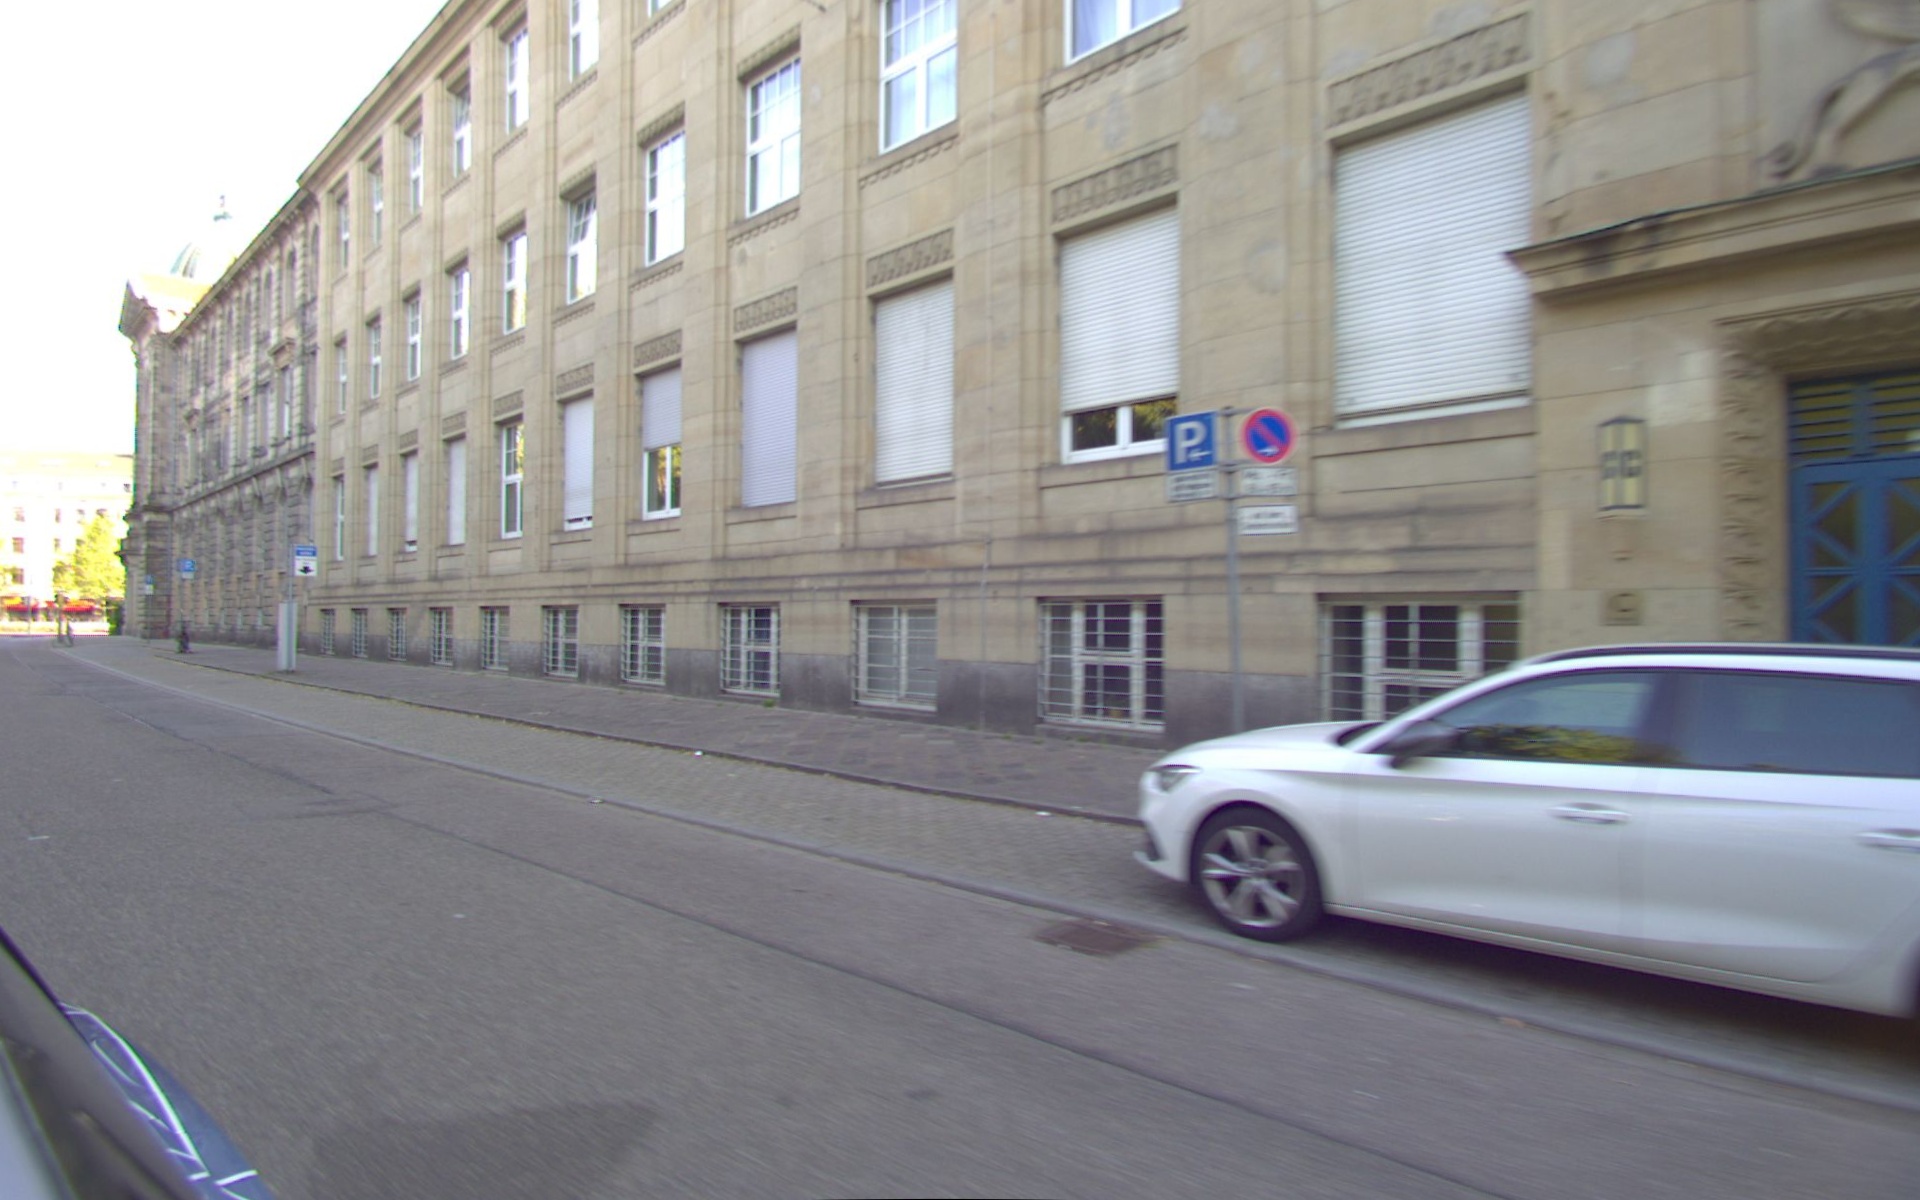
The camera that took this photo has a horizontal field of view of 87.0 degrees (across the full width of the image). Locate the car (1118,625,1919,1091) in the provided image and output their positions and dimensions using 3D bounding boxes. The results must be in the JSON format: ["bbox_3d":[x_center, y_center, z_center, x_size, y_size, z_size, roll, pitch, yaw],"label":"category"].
[{"bbox_3d":[3.084,0.848,4.327,4.559,1.446,1.725,-1,-1,41],"label":"car"}]

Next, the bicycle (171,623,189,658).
[{"bbox_3d":[-27.412,1.411,35.562,0.451,1.218,1.882,2,-2,-37],"label":"bicycle"}]
